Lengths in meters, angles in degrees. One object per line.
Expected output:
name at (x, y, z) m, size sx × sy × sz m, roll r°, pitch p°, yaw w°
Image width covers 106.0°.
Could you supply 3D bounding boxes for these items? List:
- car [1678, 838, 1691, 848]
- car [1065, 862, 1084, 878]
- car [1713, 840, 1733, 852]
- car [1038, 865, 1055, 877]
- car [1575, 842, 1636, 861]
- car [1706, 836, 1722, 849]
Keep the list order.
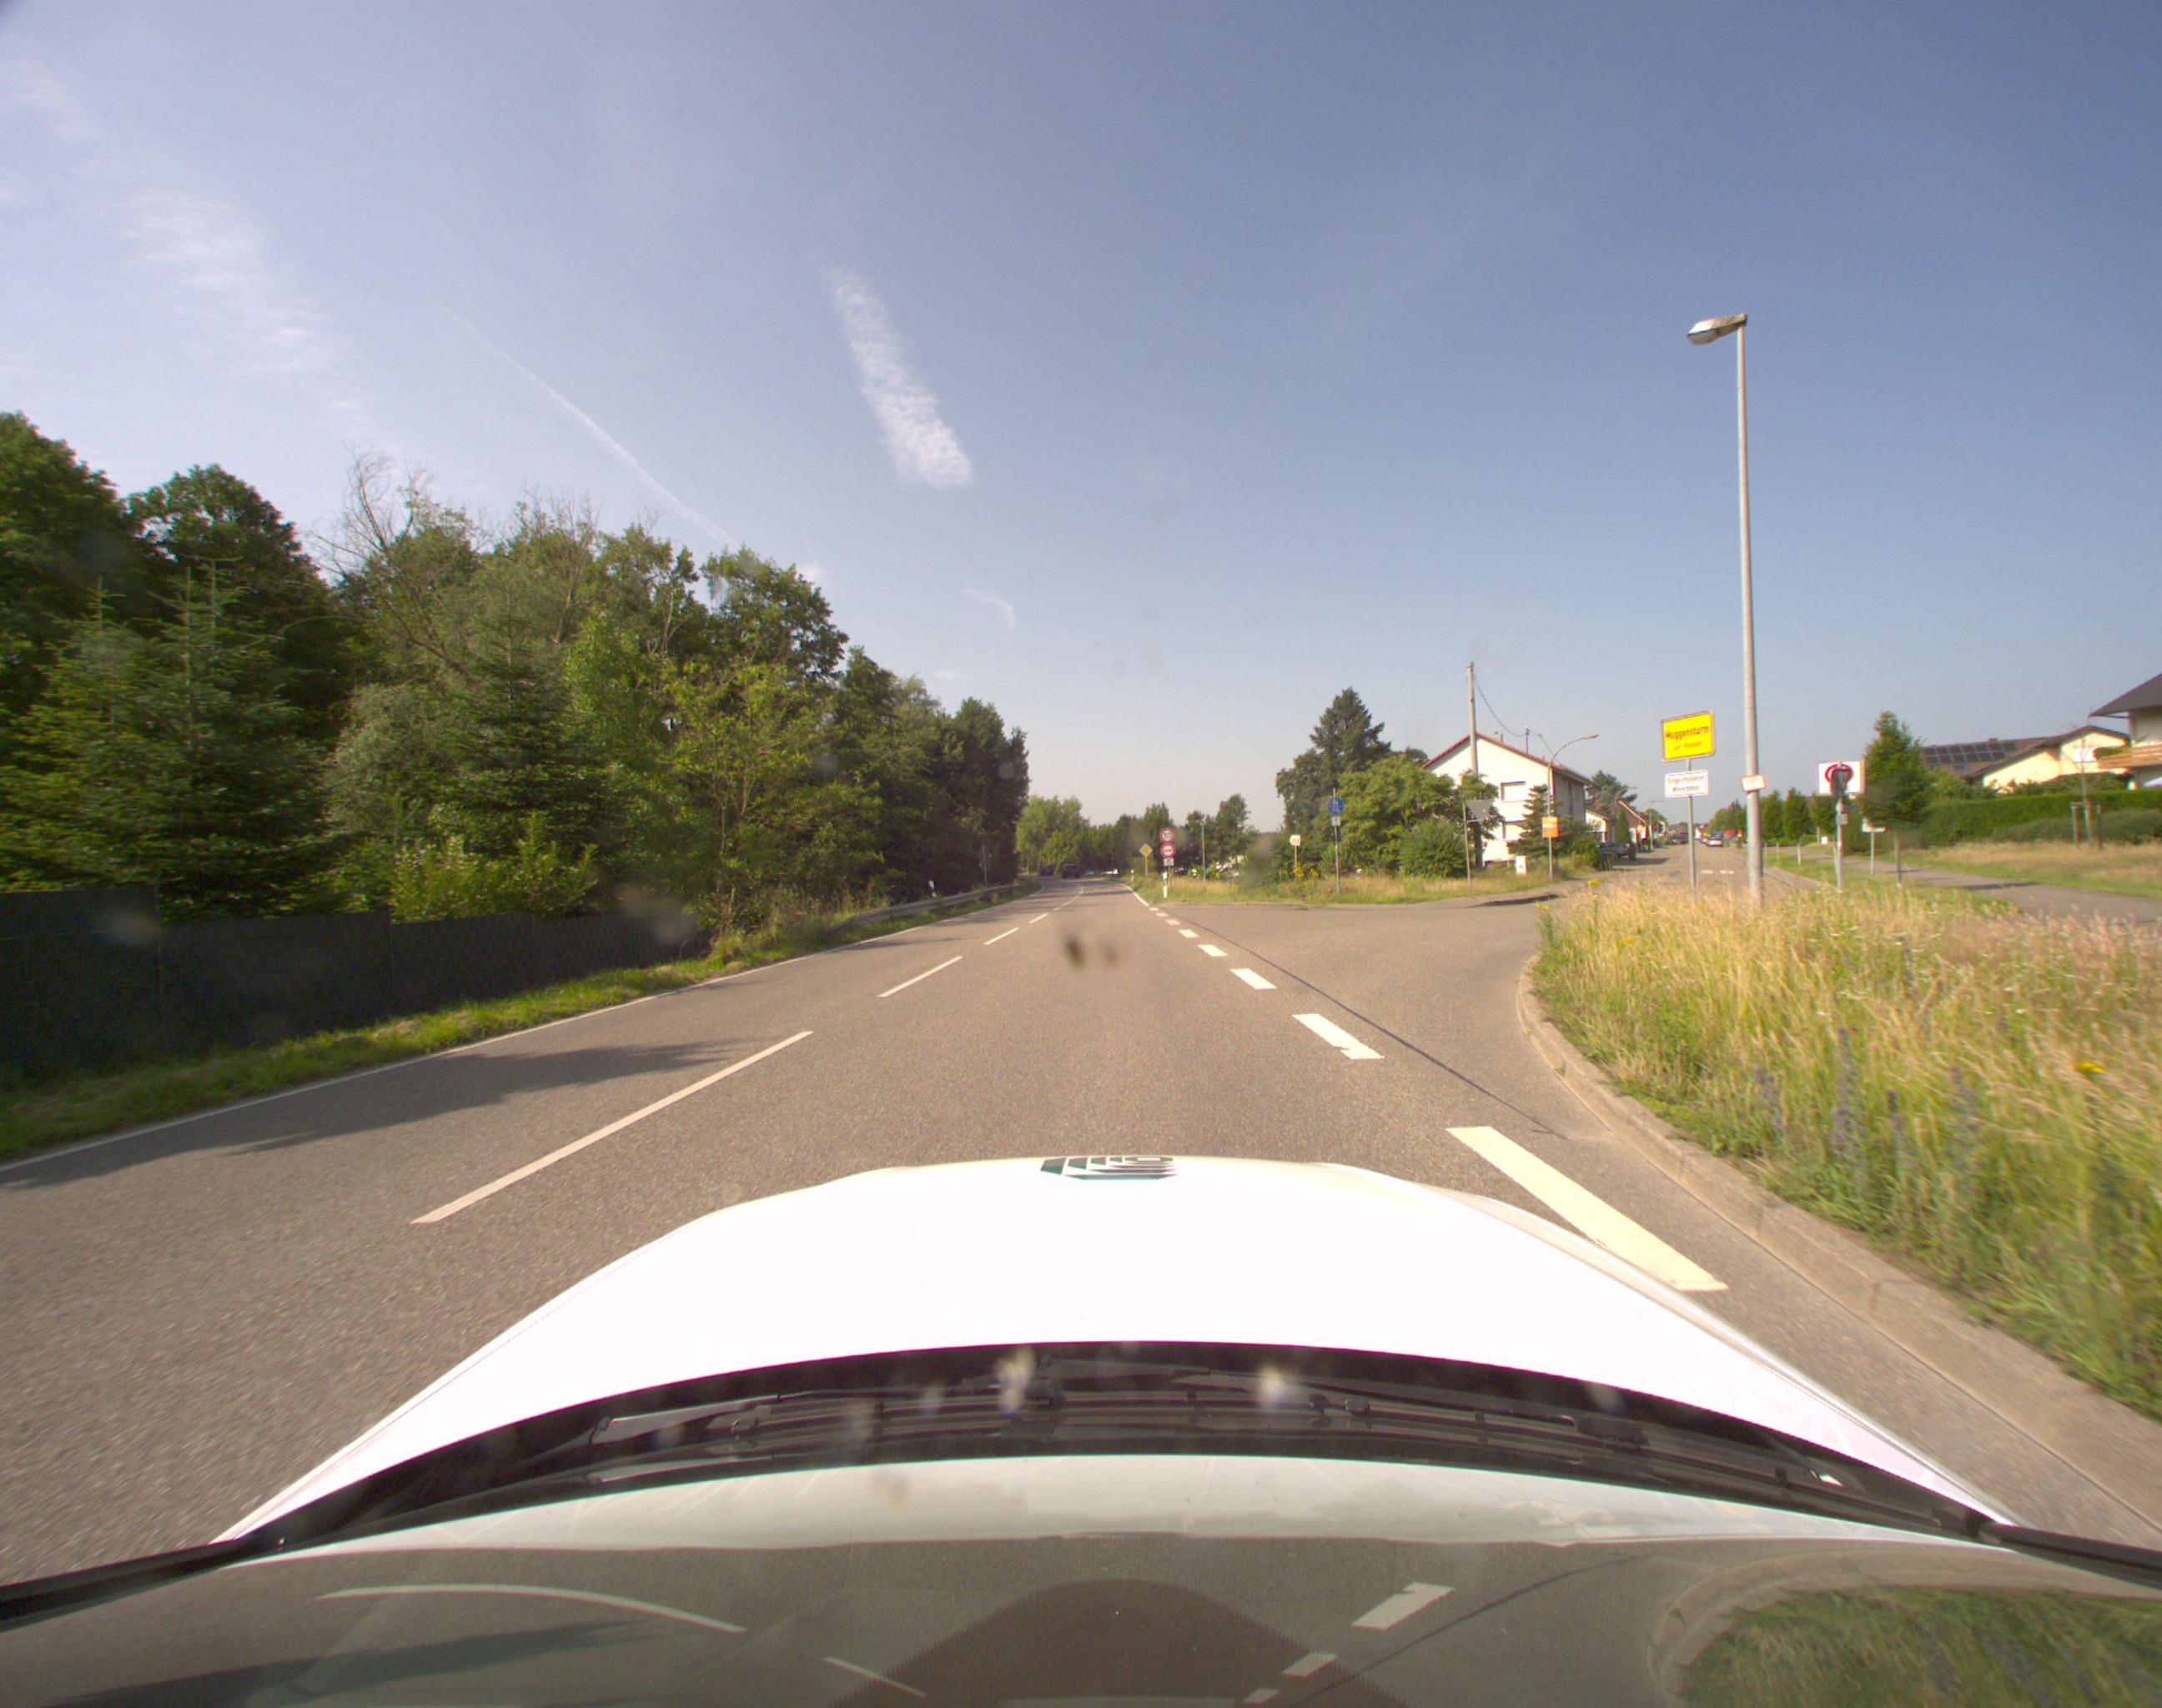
car at (123.208, -2.211, 166.361) m, size 1.974 × 2.014 × 4.025 m, roll -1°, pitch -1°, yaw 34°
car at (-0.794, 1.955, 99.980) m, size 1.923 × 1.771 × 3.991 m, roll -1°, pitch 0°, yaw -6°
car at (91.862, -1.135, 116.521) m, size 1.873 × 1.772 × 4.025 m, roll -1°, pitch -1°, yaw 34°
car at (-5.246, 2.586, 123.905) m, size 2.006 × 1.771 × 3.983 m, roll -1°, pitch 0°, yaw -12°
car at (47.357, -0.227, 73.534) m, size 4.404 × 1.698 × 1.782 m, roll -1°, pitch -1°, yaw 43°
car at (102.991, -1.790, 132.528) m, size 1.763 × 2.014 × 4.025 m, roll -1°, pitch -1°, yaw 34°
